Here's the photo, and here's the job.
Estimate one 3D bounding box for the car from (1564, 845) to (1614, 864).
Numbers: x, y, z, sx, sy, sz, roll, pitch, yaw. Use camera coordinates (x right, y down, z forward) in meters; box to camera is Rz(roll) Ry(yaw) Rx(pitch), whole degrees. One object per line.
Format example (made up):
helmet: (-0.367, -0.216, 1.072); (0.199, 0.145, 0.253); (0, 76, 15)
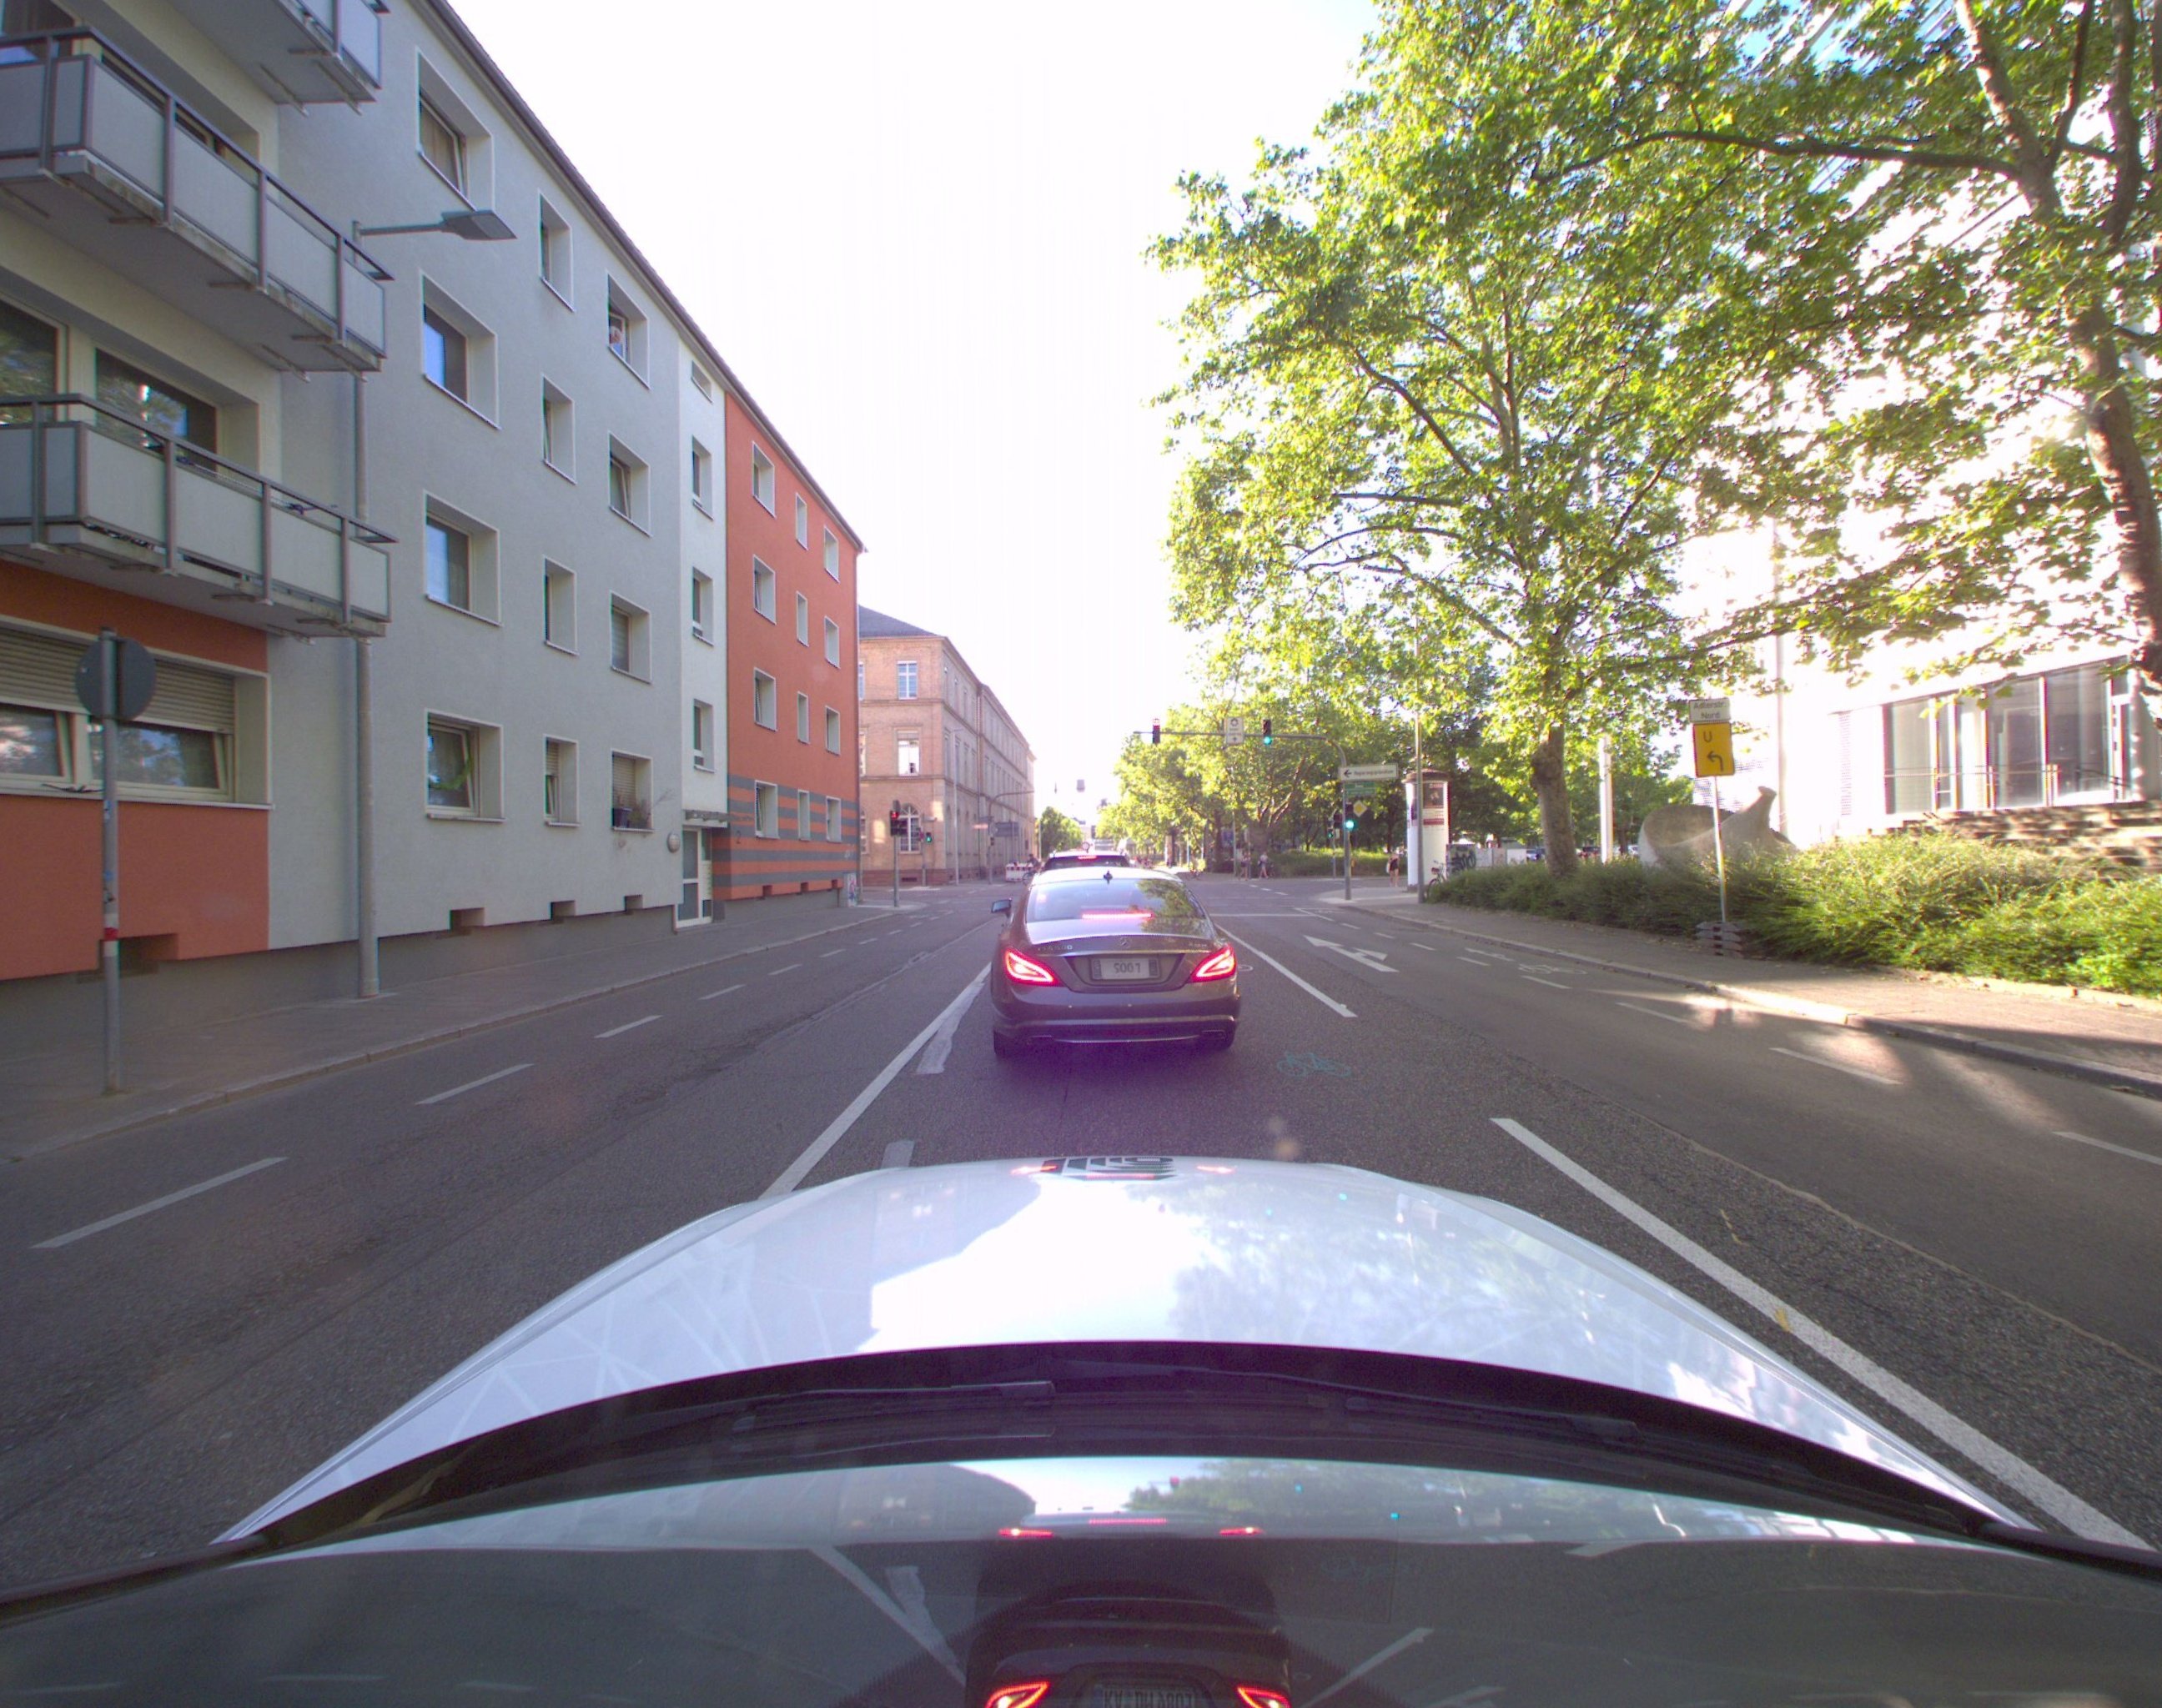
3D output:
car: (39.745, 0.056, 63.816); (1.624, 1.483, 3.796); (0, -1, 1)

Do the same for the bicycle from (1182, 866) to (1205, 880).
bicycle: (7.357, 1.234, 53.270); (0.543, 0.891, 1.879); (-1, -1, 41)

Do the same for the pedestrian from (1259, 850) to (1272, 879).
pedestrian: (11.200, 0.642, 49.430); (0.678, 1.697, 0.975); (-1, -1, 16)

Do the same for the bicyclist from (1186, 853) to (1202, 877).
bicyclist: (7.403, 0.732, 53.365); (0.642, 1.558, 0.812); (-1, -1, 39)

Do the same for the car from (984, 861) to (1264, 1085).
car: (0.142, 0.788, 7.582); (1.839, 1.429, 4.510); (0, 0, -4)

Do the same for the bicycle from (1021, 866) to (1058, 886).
bicycle: (-2.272, 1.192, 44.907); (1.973, 1.062, 0.698); (0, -1, -39)

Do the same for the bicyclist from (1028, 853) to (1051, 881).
bicyclist: (-2.297, 0.698, 44.916); (0.957, 1.500, 0.813); (0, -1, -38)

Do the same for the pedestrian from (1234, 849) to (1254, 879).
pedestrian: (9.885, 0.610, 49.450); (0.736, 1.808, 0.901); (-1, -2, -28)

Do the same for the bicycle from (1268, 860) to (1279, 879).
bicycle: (11.654, 0.930, 49.309); (0.520, 1.100, 1.749); (-1, -1, 16)

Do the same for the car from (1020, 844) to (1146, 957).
car: (0.143, 0.693, 13.876); (1.801, 1.612, 4.003); (-1, -1, 3)

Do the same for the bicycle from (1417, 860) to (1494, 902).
bicycle: (10.804, 0.771, 23.494); (1.969, 1.190, 0.528); (0, -1, 0)

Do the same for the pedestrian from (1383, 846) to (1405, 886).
pedestrian: (12.889, 0.489, 33.556); (0.792, 1.630, 0.911); (-1, -1, 17)
